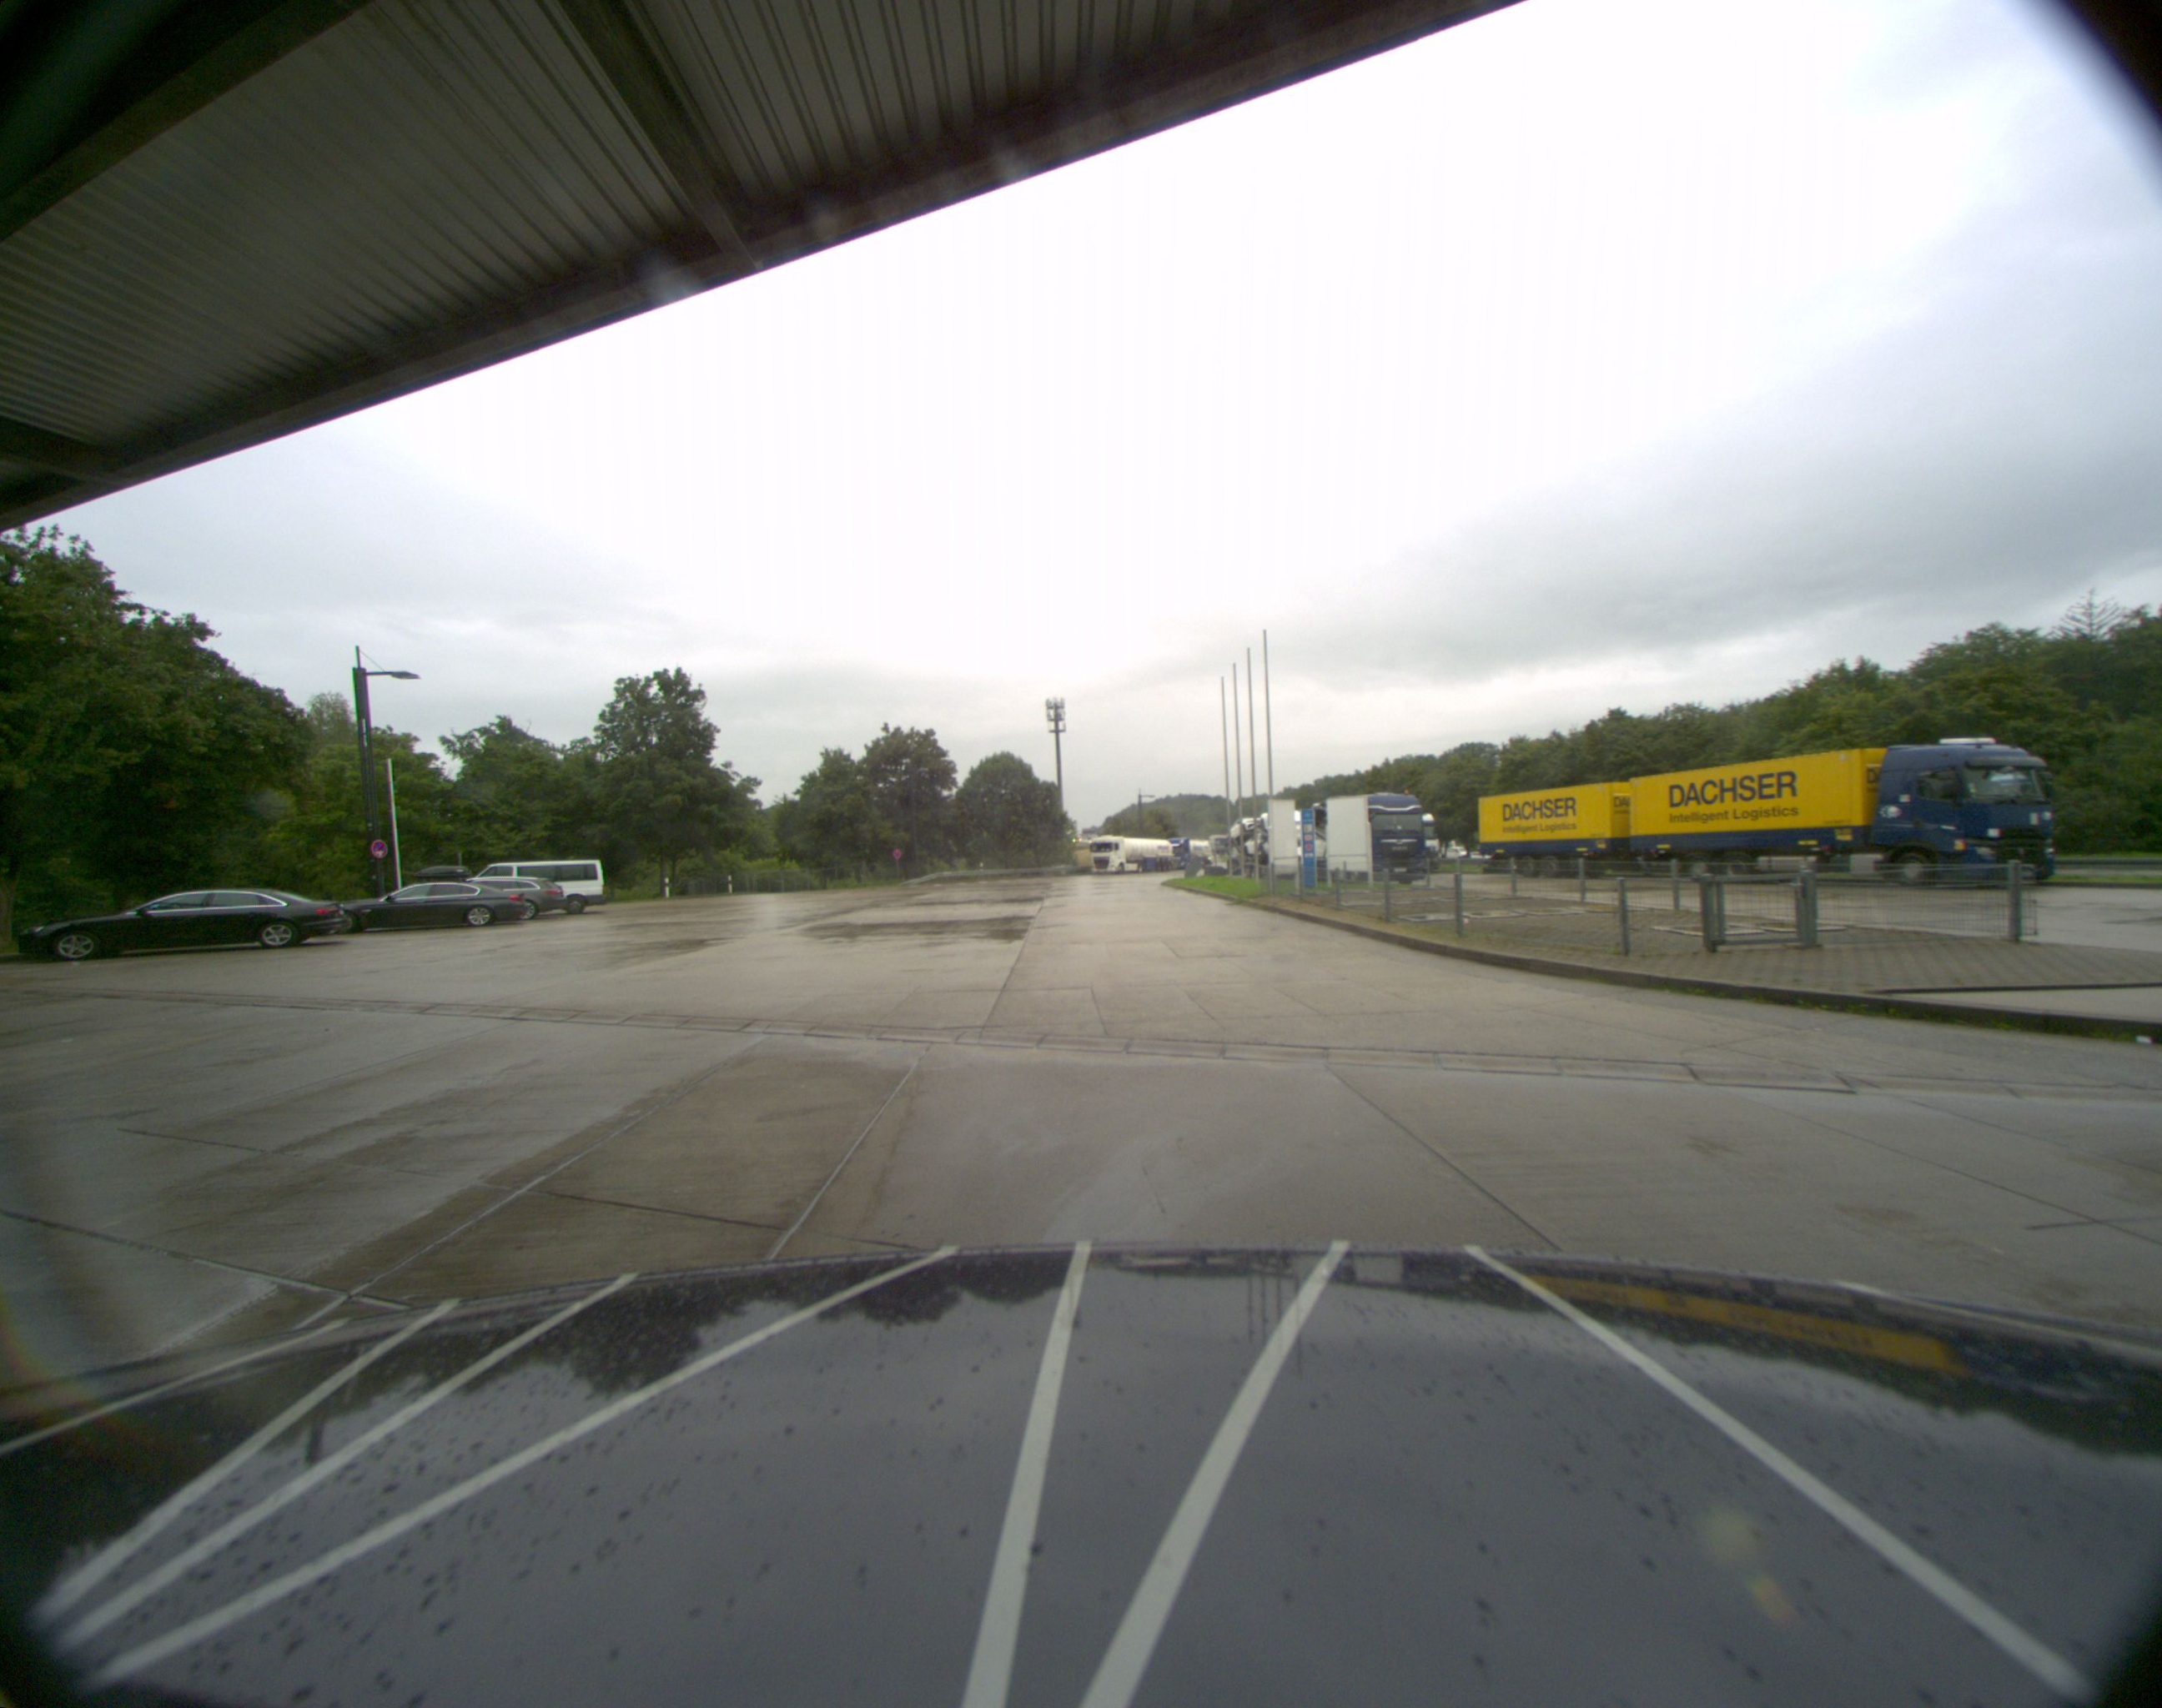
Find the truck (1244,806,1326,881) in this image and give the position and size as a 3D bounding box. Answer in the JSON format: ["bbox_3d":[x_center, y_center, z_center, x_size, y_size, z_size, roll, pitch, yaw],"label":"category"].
[{"bbox_3d":[11.047,-0.556,41.599,2.665,3.750,4.747,-2,1,-6],"label":"truck"}]

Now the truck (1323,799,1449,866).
[{"bbox_3d":[19.883,-1.297,50.580,2.757,3.894,10.678,-2,1,-8],"label":"truck"}]

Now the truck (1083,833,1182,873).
[{"bbox_3d":[5.453,-0.160,75.220,3.505,3.584,14.426,-2,0,31],"label":"truck"}]

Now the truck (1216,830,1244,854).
[{"bbox_3d":[33.759,-2.723,172.717,3.145,5.092,11.515,-2,1,-5],"label":"truck"}]

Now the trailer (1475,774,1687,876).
[{"bbox_3d":[21.793,-1.181,33.960,2.757,3.894,8.700,-2,1,-9],"label":"trailer"}]

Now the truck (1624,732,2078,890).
[{"bbox_3d":[23.155,-1.124,24.339,2.757,3.894,10.678,-2,1,-8],"label":"truck"}]

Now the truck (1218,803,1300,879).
[{"bbox_3d":[10.571,-0.725,45.790,2.665,4.157,6.618,-2,1,-6],"label":"truck"}]

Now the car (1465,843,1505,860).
[{"bbox_3d":[46.617,-0.304,87.690,1.730,1.879,4.367,-2,1,-10],"label":"car"}]

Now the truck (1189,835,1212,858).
[{"bbox_3d":[22.813,-1.503,145.620,3.143,4.105,11.523,-2,1,3],"label":"truck"}]

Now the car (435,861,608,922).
[{"bbox_3d":[-20.426,1.288,28.006,4.898,1.938,2.310,-2,0,-35],"label":"car"}]

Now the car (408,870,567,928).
[{"bbox_3d":[-19.470,1.427,25.169,4.007,1.650,1.596,-2,0,-35],"label":"car"}]

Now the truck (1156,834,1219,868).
[{"bbox_3d":[12.780,-0.403,89.701,3.506,3.584,14.685,-2,0,23],"label":"truck"}]

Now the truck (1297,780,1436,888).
[{"bbox_3d":[12.185,-0.794,33.192,2.665,4.157,7.103,-2,0,-6],"label":"truck"}]

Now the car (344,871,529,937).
[{"bbox_3d":[-18.875,1.394,22.518,4.007,1.650,1.596,-2,0,-35],"label":"car"}]

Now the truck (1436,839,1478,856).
[{"bbox_3d":[51.467,-0.904,104.189,2.082,2.112,5.827,-2,1,-10],"label":"truck"}]

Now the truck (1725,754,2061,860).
[{"bbox_3d":[33.912,-1.756,32.725,2.421,3.785,10.223,-2,1,-10],"label":"truck"}]
